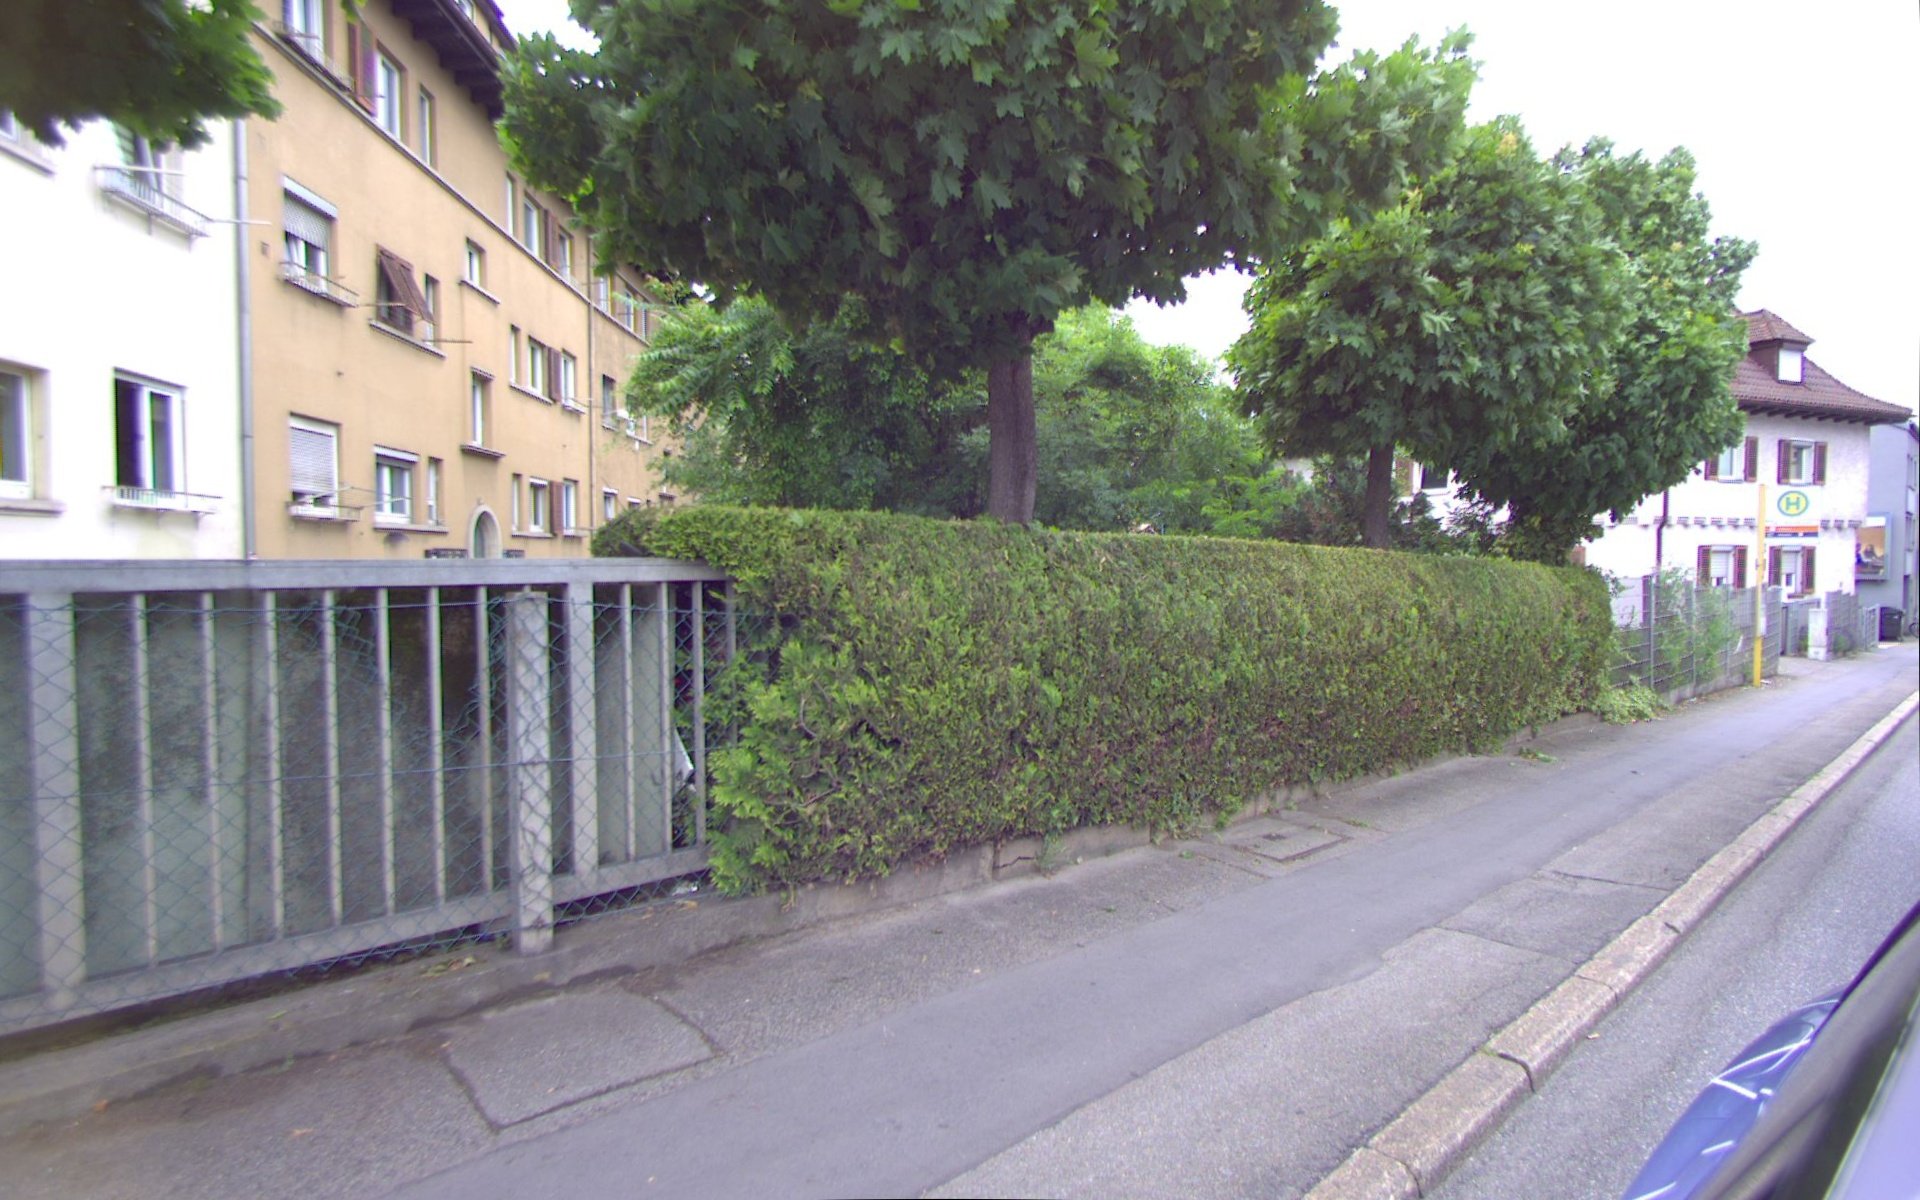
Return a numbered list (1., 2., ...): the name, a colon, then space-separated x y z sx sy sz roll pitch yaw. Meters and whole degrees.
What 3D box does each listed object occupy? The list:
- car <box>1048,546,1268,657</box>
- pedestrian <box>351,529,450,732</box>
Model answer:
1. car: 3.848 0.012 20.225 3.923 2.039 2.001 1 1 -1
2. pedestrian: -5.065 0.257 9.166 0.684 1.759 0.466 0 2 -43
